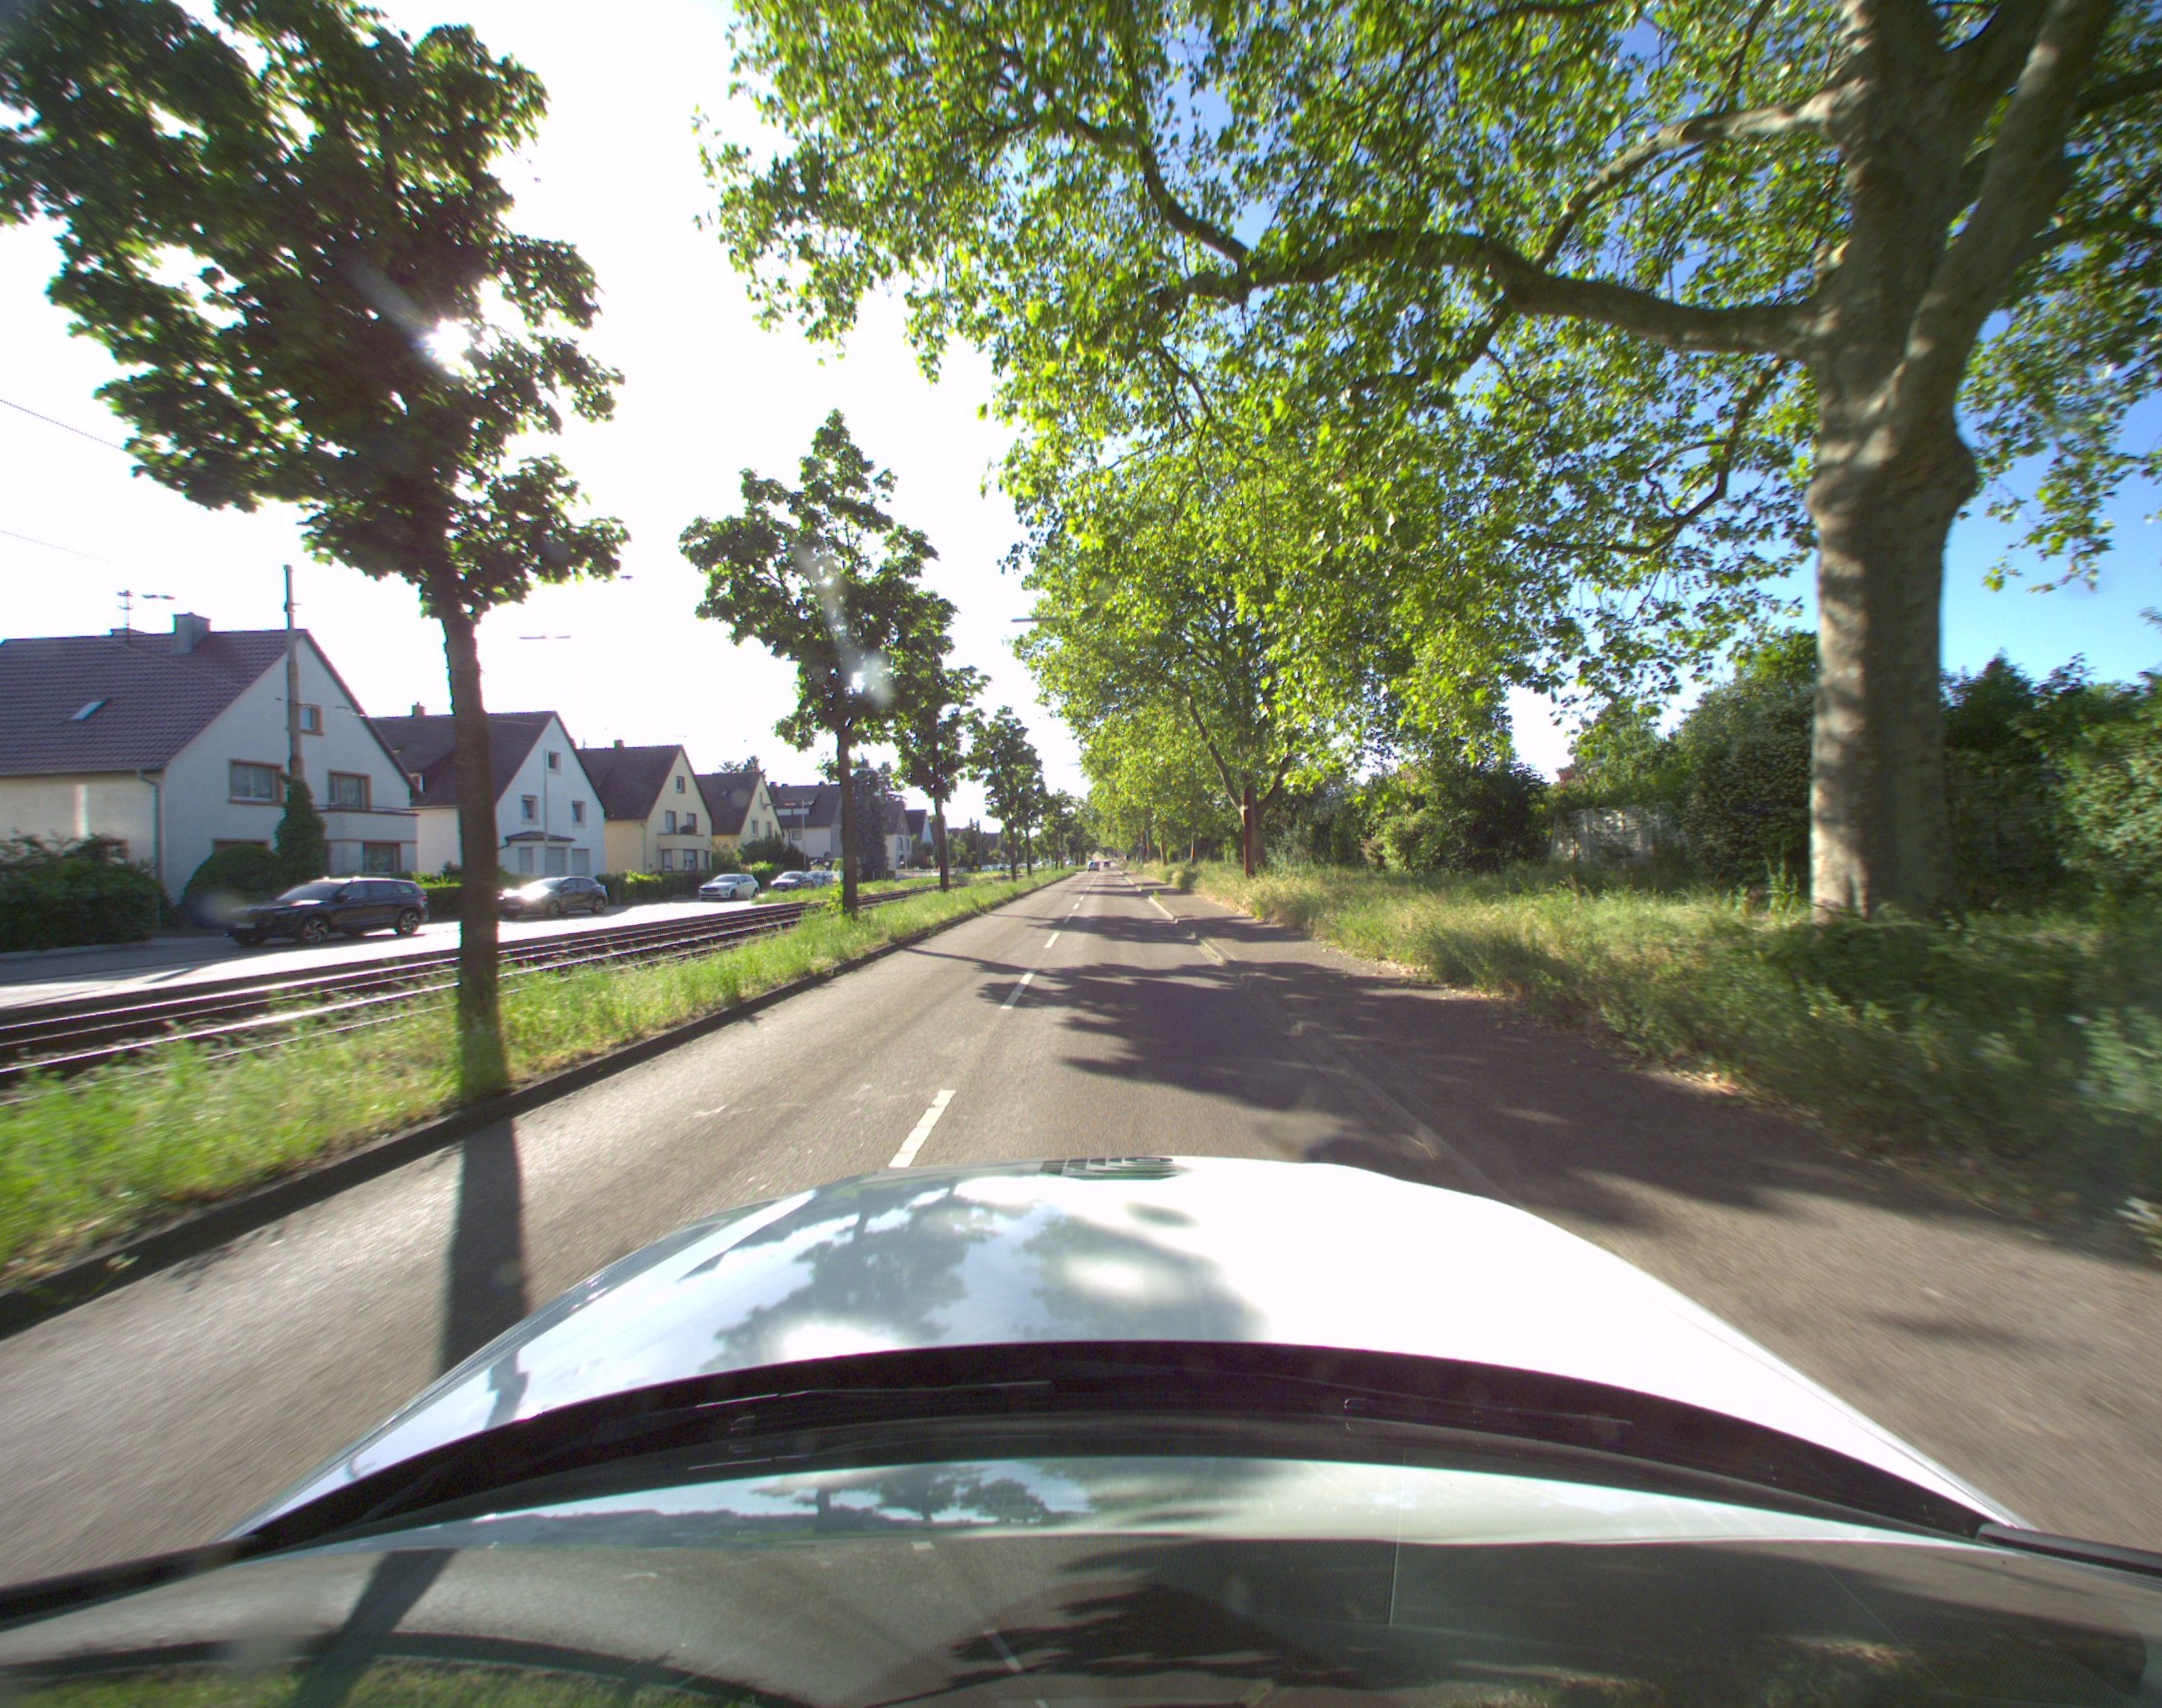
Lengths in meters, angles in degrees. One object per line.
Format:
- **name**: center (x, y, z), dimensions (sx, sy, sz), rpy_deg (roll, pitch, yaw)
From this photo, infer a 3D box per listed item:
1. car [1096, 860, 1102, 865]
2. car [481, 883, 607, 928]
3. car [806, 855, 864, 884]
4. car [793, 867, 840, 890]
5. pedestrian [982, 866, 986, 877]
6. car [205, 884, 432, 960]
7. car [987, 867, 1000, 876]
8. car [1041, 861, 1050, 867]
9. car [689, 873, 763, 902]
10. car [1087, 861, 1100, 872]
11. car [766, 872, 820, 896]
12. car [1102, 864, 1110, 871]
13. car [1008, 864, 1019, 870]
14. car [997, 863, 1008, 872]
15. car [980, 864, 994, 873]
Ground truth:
- **car**: center (5.734, 2.694, 258.327), dimensions (1.986, 1.603, 4.474), rpy_deg (-1, -1, 1)
- **car**: center (-20.488, 1.913, 31.314), dimensions (1.919, 1.495, 4.257), rpy_deg (-1, -1, 2)
- **car**: center (-24.234, 1.470, 80.389), dimensions (5.010, 2.625, 2.103), rpy_deg (-2, 0, 1)
- **car**: center (-19.146, 1.758, 59.190), dimensions (1.939, 1.553, 4.058), rpy_deg (-1, -1, 2)
- **pedestrian**: center (-18.505, 3.355, 155.233), dimensions (0.678, 2.014, 0.772), rpy_deg (-1, -1, 1)
- **car**: center (-20.544, 1.753, 22.264), dimensions (1.986, 1.713, 4.392), rpy_deg (-1, -1, 2)
- **car**: center (-16.317, 3.233, 151.807), dimensions (1.723, 1.466, 4.603), rpy_deg (-1, -1, 1)
- **car**: center (-9.683, 2.785, 221.490), dimensions (1.986, 1.603, 4.474), rpy_deg (-1, -1, 1)
- **car**: center (-19.721, 1.830, 45.490), dimensions (1.985, 1.426, 4.414), rpy_deg (-1, -1, 3)
- **car**: center (1.797, 1.740, 114.748), dimensions (1.853, 1.601, 4.229), rpy_deg (-1, -1, 1)
- **car**: center (-19.118, 1.937, 54.245), dimensions (1.986, 1.450, 4.129), rpy_deg (1, -1, 2)
- **car**: center (5.799, 3.060, 188.745), dimensions (1.986, 1.603, 4.474), rpy_deg (-1, -1, 1)
- **car**: center (-15.113, 2.905, 182.328), dimensions (1.853, 1.369, 4.229), rpy_deg (-1, -1, 1)
- **car**: center (-15.707, 2.730, 163.058), dimensions (1.741, 1.651, 4.556), rpy_deg (-1, -1, 1)
- **car**: center (-16.558, 2.477, 142.964), dimensions (1.853, 1.542, 4.229), rpy_deg (-1, -1, 1)
